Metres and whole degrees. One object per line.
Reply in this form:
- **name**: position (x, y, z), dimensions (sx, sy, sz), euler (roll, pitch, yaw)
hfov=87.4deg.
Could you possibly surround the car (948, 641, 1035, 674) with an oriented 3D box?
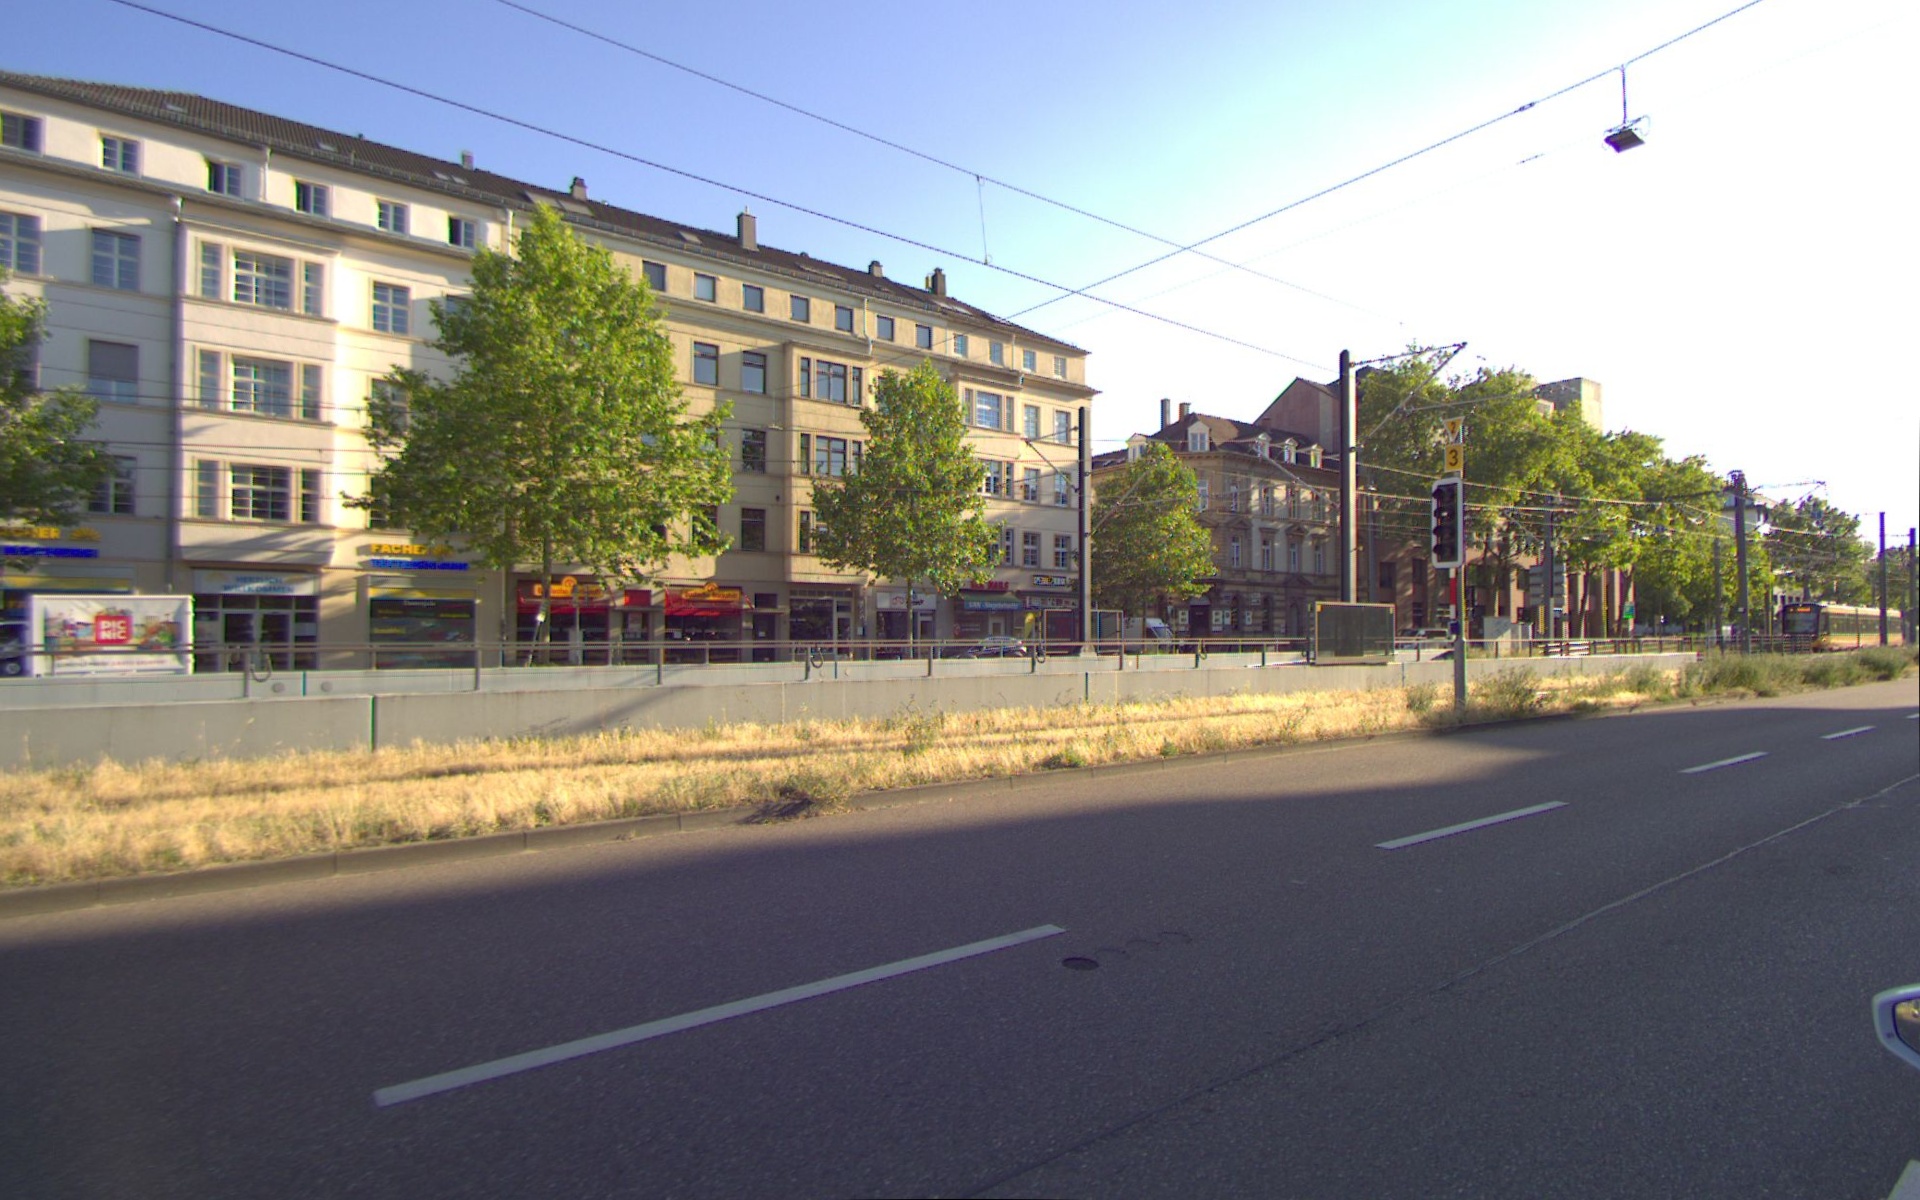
- **car**: position (1.393, 2.506, 43.828), dimensions (3.675, 1.350, 1.444), euler (2, -1, -37)

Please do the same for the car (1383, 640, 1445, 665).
- **car**: position (30.069, 3.450, 66.465), dimensions (4.692, 1.605, 1.747), euler (2, -3, -38)

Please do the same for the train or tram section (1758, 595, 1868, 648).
- **train or tram section**: position (63.584, 1.744, 74.625), dimensions (17.329, 3.605, 3.087), euler (2, -3, -39)

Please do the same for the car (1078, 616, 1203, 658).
- **car**: position (10.349, 2.149, 58.305), dimensions (2.452, 2.296, 7.202), euler (2, -3, -42)

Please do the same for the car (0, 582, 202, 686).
- **car**: position (-19.618, 0.757, 22.214), dimensions (4.531, 2.162, 1.938), euler (1, -2, -38)

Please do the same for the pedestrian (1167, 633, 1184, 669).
- **pedestrian**: position (11.787, 2.775, 54.944), dimensions (0.580, 1.944, 0.626), euler (2, 0, -35)
